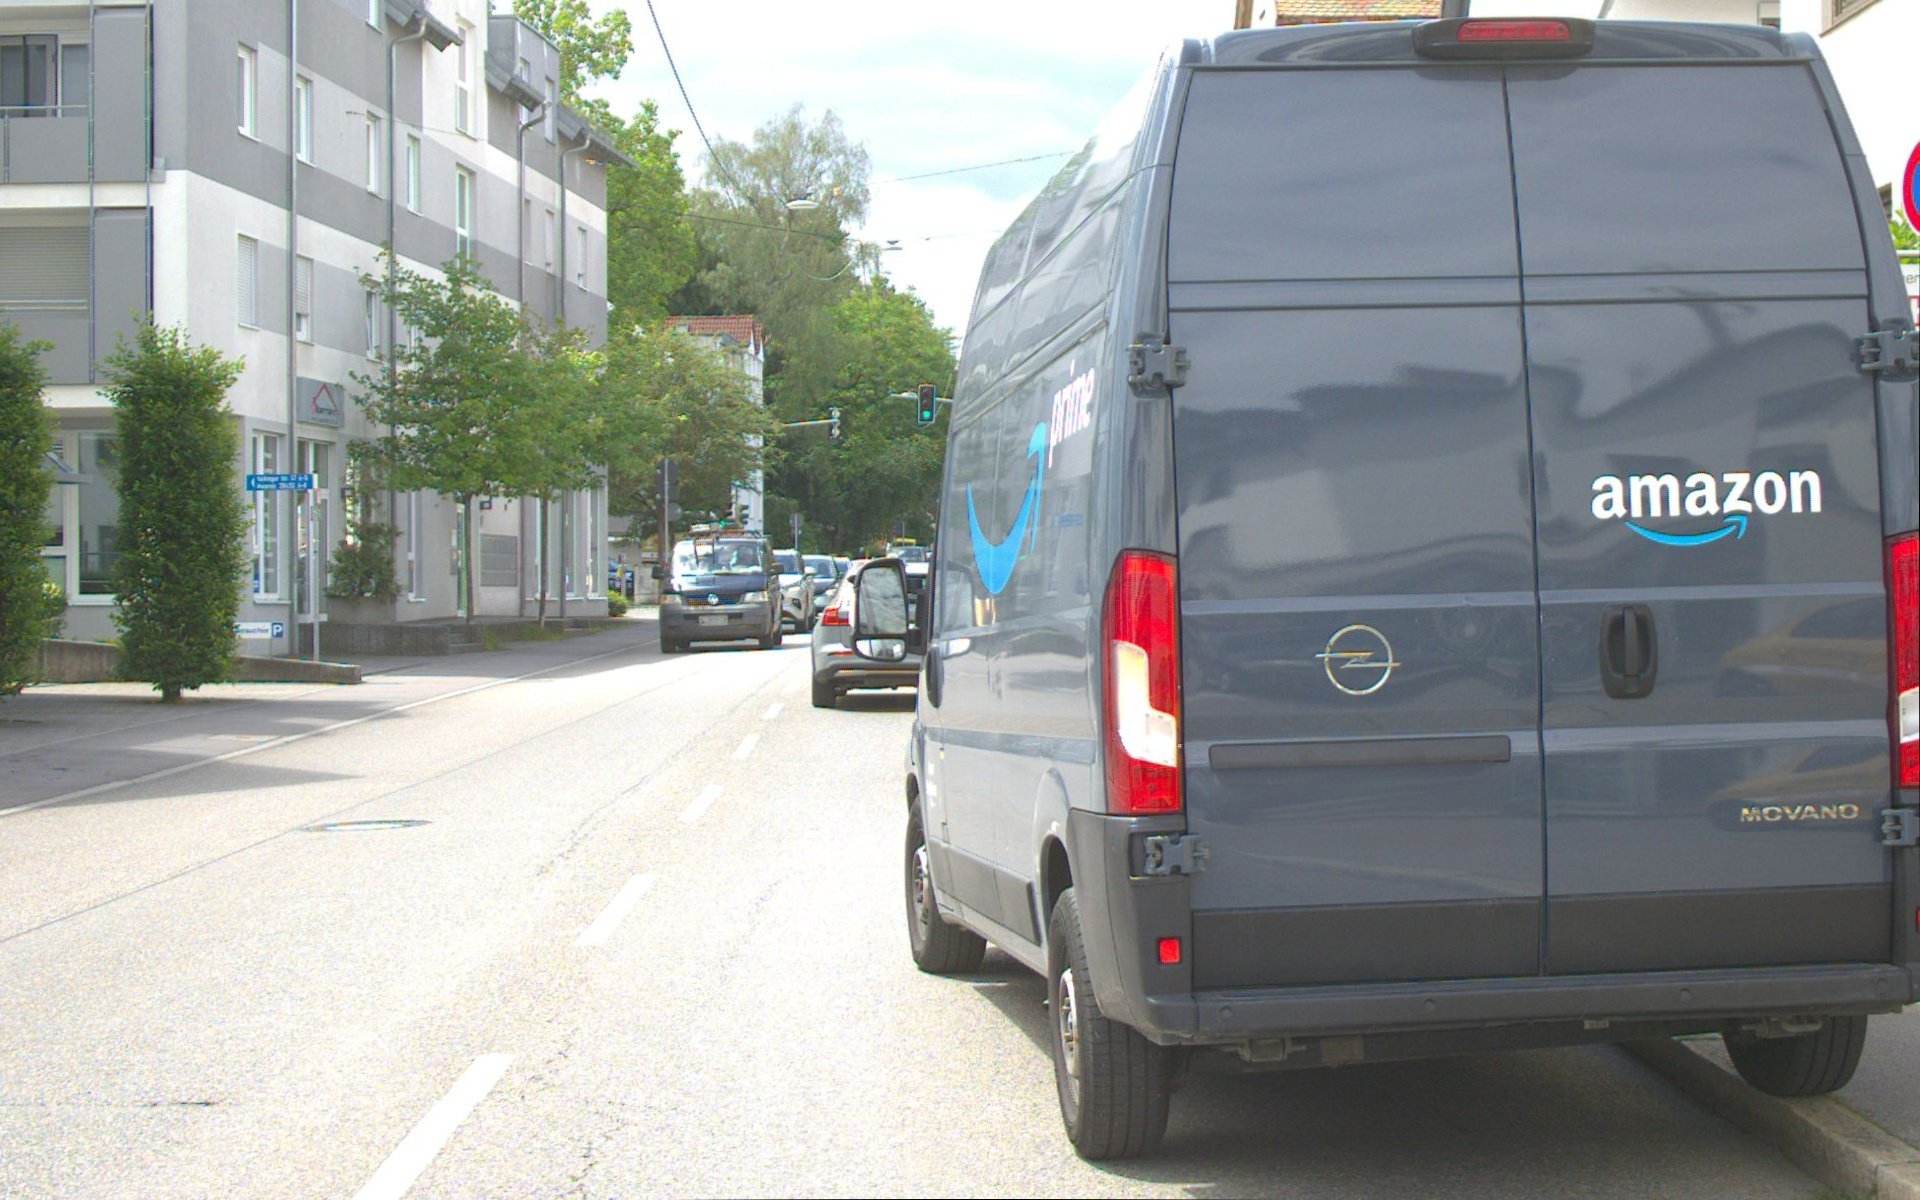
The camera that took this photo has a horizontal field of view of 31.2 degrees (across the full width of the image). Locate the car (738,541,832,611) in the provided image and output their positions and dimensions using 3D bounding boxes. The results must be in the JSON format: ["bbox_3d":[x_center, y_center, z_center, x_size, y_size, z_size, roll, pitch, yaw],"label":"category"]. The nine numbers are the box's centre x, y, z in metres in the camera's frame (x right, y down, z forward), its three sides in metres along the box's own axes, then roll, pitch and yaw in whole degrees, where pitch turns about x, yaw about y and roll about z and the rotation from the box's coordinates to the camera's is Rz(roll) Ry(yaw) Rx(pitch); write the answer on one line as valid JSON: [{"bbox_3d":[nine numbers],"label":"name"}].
[{"bbox_3d":[-4.138,-0.590,81.815,2.105,1.590,4.650,-1,1,-1],"label":"car"}]

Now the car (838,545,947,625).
[{"bbox_3d":[-1.249,-0.303,64.828,1.896,1.441,3.968,-1,1,1],"label":"car"}]

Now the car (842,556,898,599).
[{"bbox_3d":[-3.454,-0.889,131.762,2.105,1.590,4.650,-1,1,-1],"label":"car"}]

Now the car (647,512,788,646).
[{"bbox_3d":[-4.088,-0.379,58.740,2.105,2.114,4.766,-2,1,-1],"label":"car"}]

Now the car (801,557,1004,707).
[{"bbox_3d":[-0.537,0.289,35.569,1.896,1.448,3.968,0,1,2],"label":"car"}]

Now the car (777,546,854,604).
[{"bbox_3d":[-4.077,-0.728,97.579,2.105,1.590,4.650,-1,1,-1],"label":"car"}]

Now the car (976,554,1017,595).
[{"bbox_3d":[1.848,-1.295,173.187,1.993,2.007,4.000,0,1,1],"label":"car"}]

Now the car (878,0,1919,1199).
[{"bbox_3d":[1.050,-0.042,10.409,2.252,2.786,5.570,-1,1,-5],"label":"car"}]

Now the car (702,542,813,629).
[{"bbox_3d":[-4.135,-0.326,70.841,2.105,1.704,4.766,-1,1,-1],"label":"car"}]

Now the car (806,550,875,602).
[{"bbox_3d":[-3.706,-0.765,107.140,2.105,1.590,4.650,-1,1,-1],"label":"car"}]
